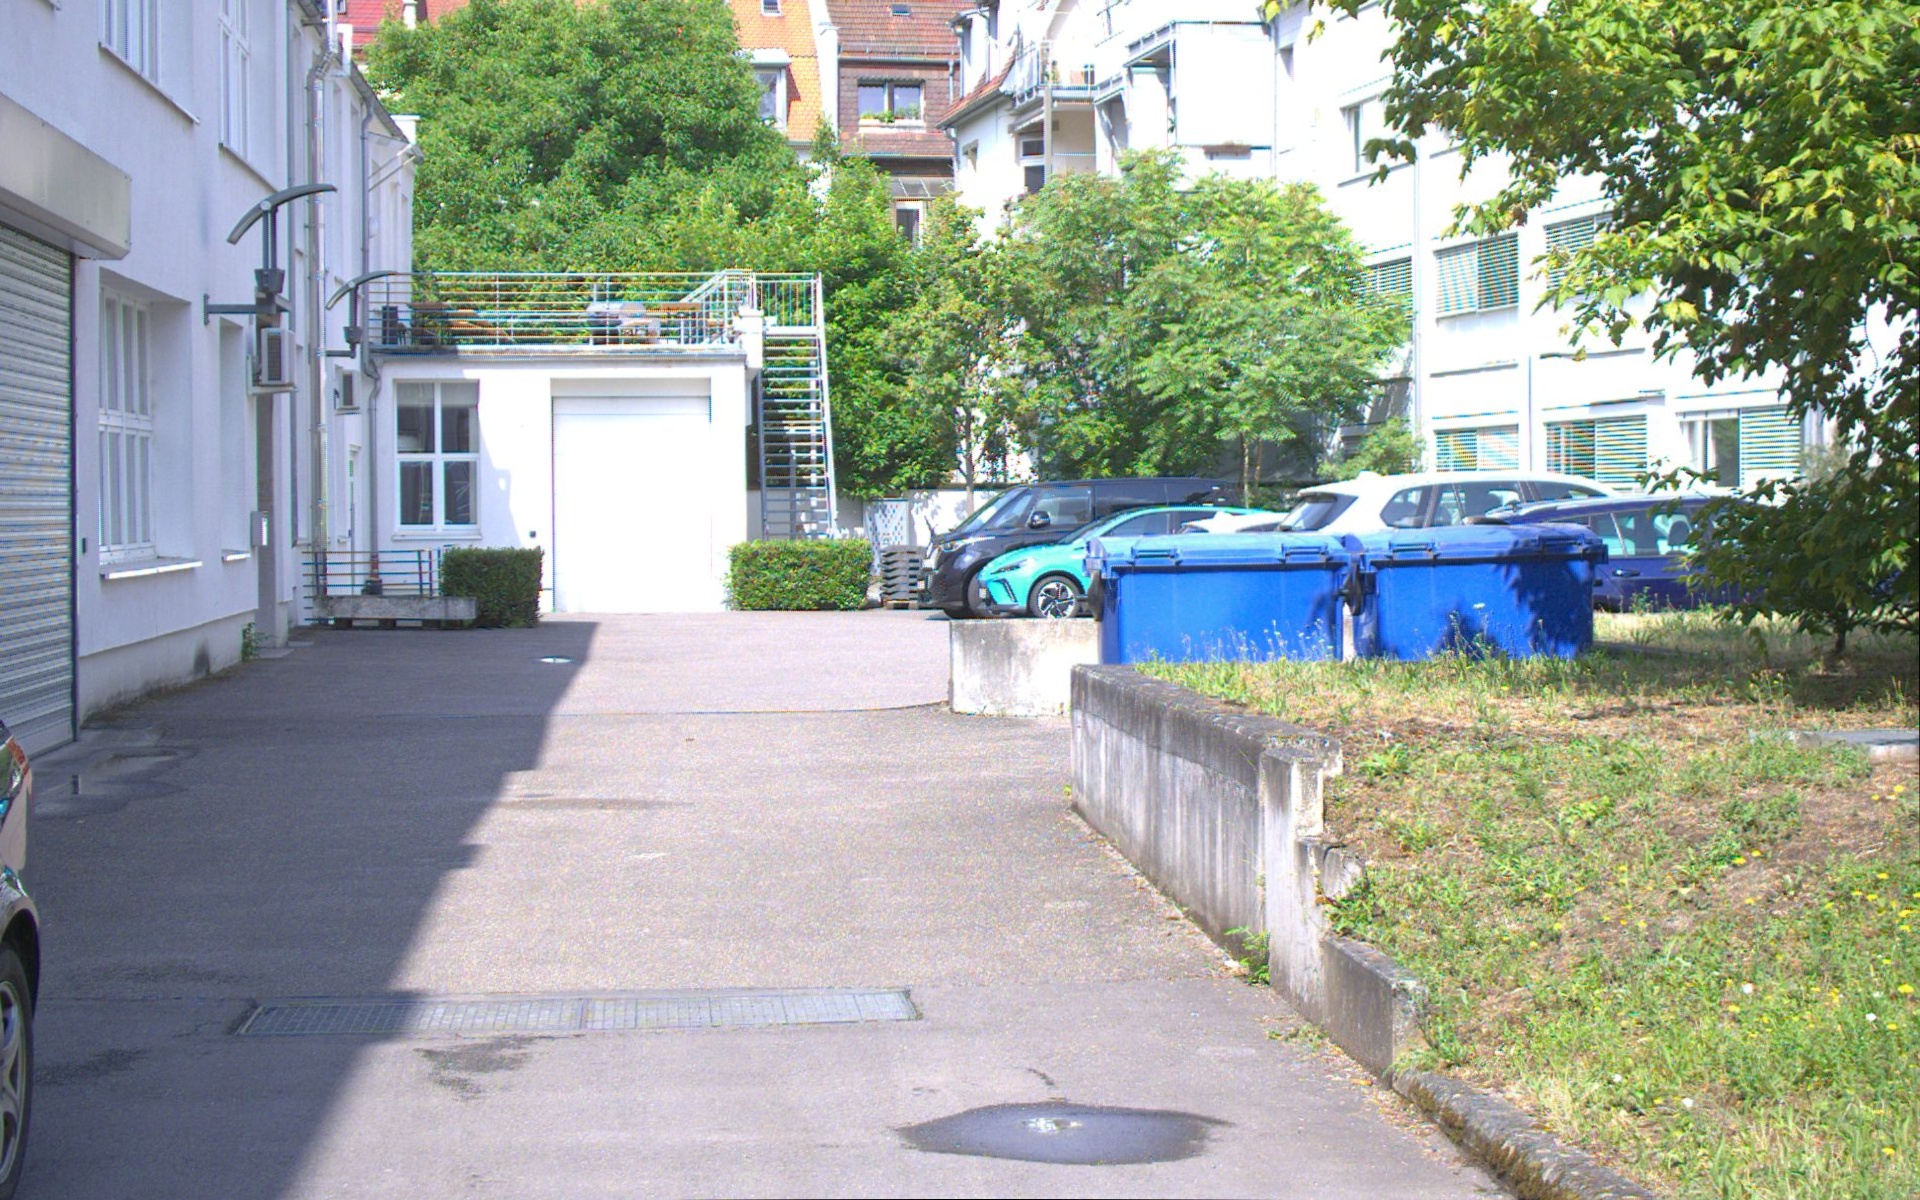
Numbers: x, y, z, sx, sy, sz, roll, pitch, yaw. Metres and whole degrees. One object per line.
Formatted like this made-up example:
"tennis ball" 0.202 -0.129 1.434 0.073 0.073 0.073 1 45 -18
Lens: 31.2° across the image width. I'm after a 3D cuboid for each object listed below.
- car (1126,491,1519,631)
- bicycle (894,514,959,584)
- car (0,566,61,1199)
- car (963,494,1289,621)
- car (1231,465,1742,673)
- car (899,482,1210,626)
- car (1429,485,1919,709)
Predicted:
"car" 3.960 -0.451 37.766 3.986 1.440 1.629 -1 2 -10
"bicycle" -0.563 -0.843 57.043 0.640 1.113 1.859 2 0 -14
"car" -2.855 0.580 5.772 1.879 1.437 4.341 1 -2 -5
"car" 2.143 -0.578 44.820 3.986 1.568 1.629 -1 2 -10
"car" 4.548 -0.287 30.023 3.986 1.740 1.950 0 1 -10
"car" 1.285 -0.625 47.444 3.986 1.811 1.664 2 0 -10
"car" 5.972 -0.007 27.124 4.111 1.601 1.755 2 0 -10
